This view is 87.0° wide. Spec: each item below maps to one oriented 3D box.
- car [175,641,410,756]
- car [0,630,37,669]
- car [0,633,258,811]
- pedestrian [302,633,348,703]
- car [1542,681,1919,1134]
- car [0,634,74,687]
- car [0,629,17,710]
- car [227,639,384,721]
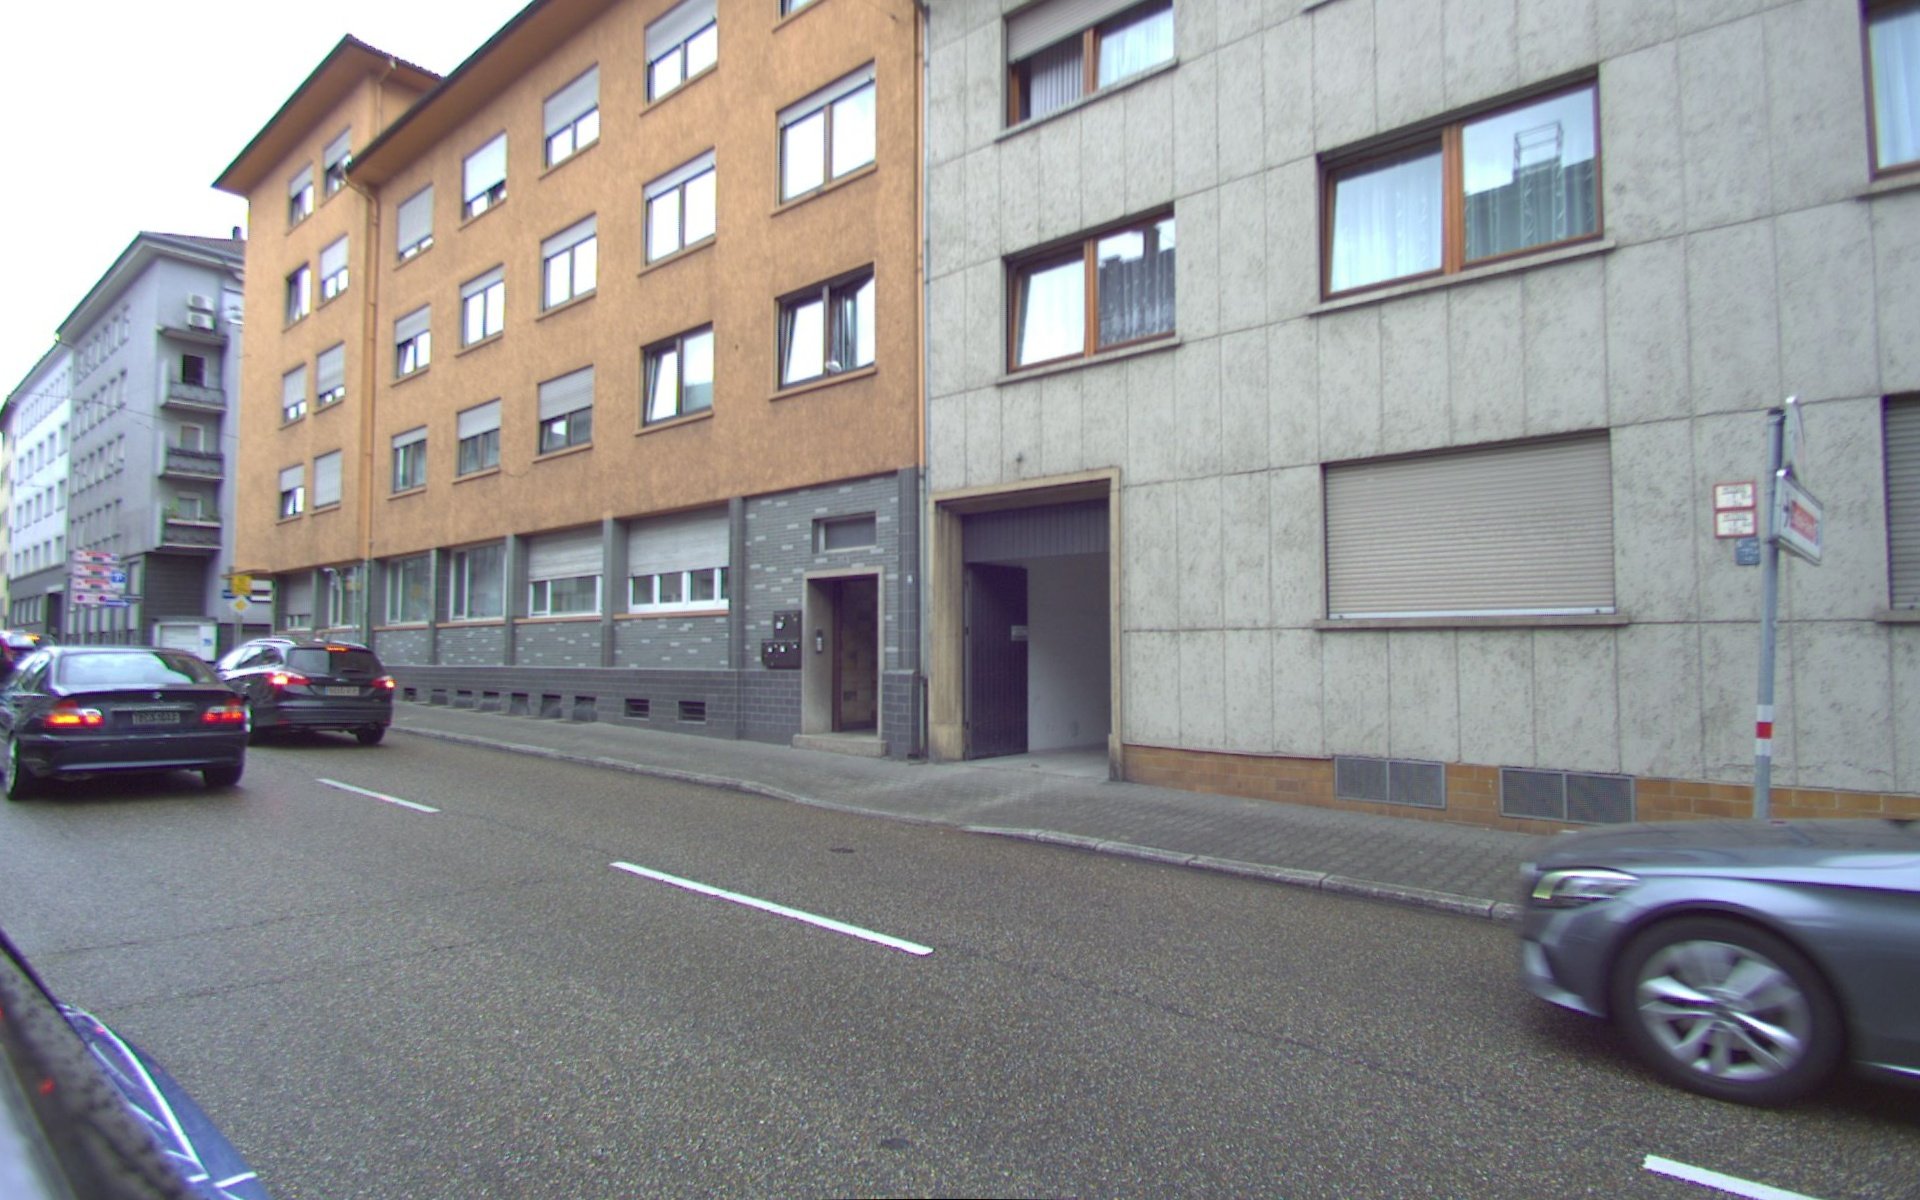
[{"bbox_3d":[-10.177,1.405,15.317,4.370,1.484,1.705,-2,-5,40],"label":"car"},{"bbox_3d":[-46.478,2.380,49.278,4.216,1.735,1.832,-1,0,41],"label":"car"},{"bbox_3d":[-8.753,1.086,10.264,4.216,1.381,1.677,0,-4,42],"label":"car"},{"bbox_3d":[-15.769,1.672,25.123,0.757,1.652,1.024,-1,0,-44],"label":"pedestrian"},{"bbox_3d":[4.450,1.055,3.164,4.362,1.381,1.678,-1,-5,40],"label":"car"},{"bbox_3d":[-30.705,1.940,33.212,4.433,1.551,1.677,-1,-6,40],"label":"car"},{"bbox_3d":[-20.475,1.319,20.329,4.213,1.551,1.602,-1,-4,39],"label":"car"},{"bbox_3d":[-14.251,1.646,21.942,4.216,1.485,1.776,-1,0,41],"label":"car"}]
